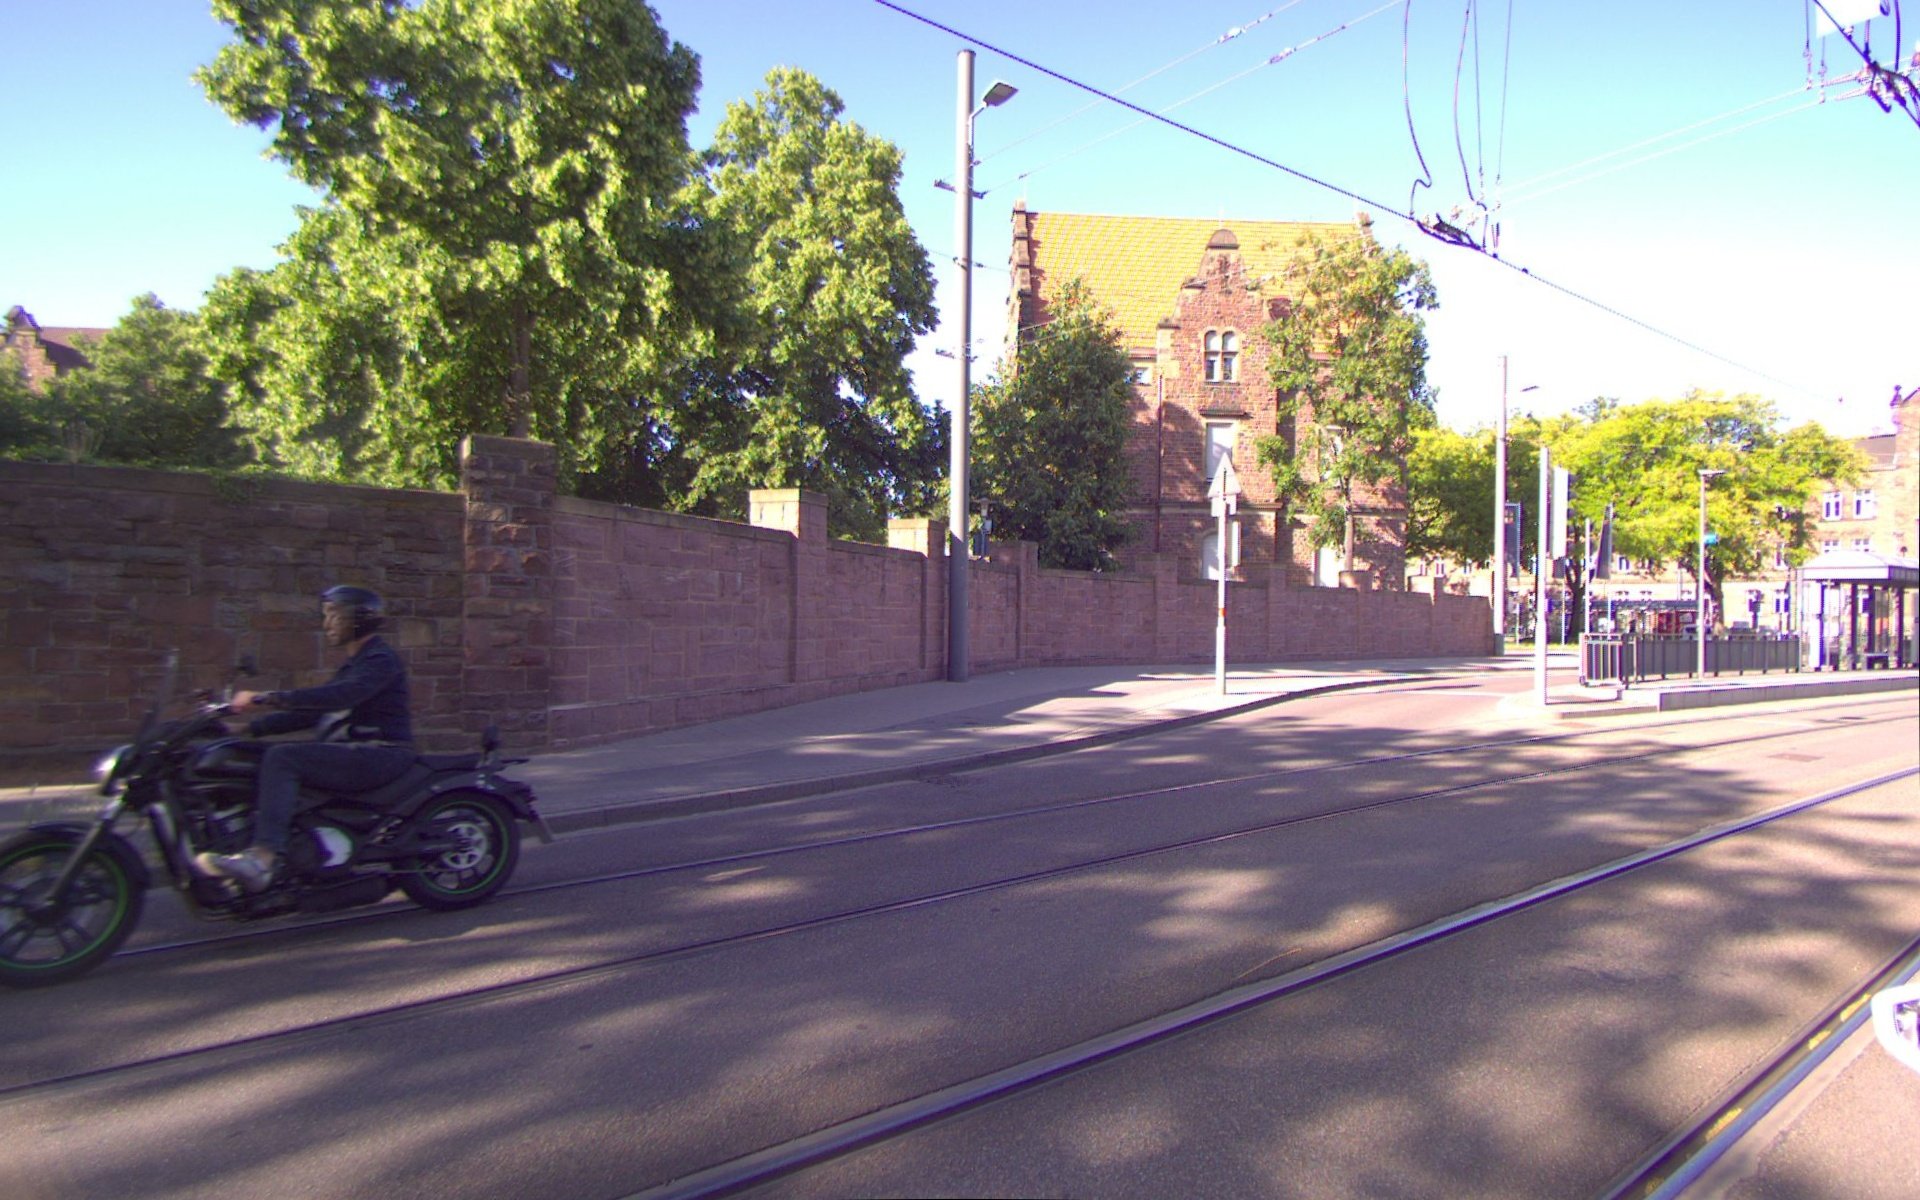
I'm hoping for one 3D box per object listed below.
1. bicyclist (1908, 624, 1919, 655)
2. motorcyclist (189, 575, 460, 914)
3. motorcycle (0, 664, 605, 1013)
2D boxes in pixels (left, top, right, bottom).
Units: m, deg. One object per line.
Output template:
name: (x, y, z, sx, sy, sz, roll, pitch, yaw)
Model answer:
bicyclist: (47.116, 1.942, 49.221, 1.138, 1.478, 0.650, 1, 0, -29)
motorcyclist: (-3.029, 0.603, 4.792, 0.880, 1.401, 0.903, 1, -1, 44)
motorcycle: (-3.050, 0.944, 4.788, 0.902, 1.169, 2.414, 1, -1, 44)
